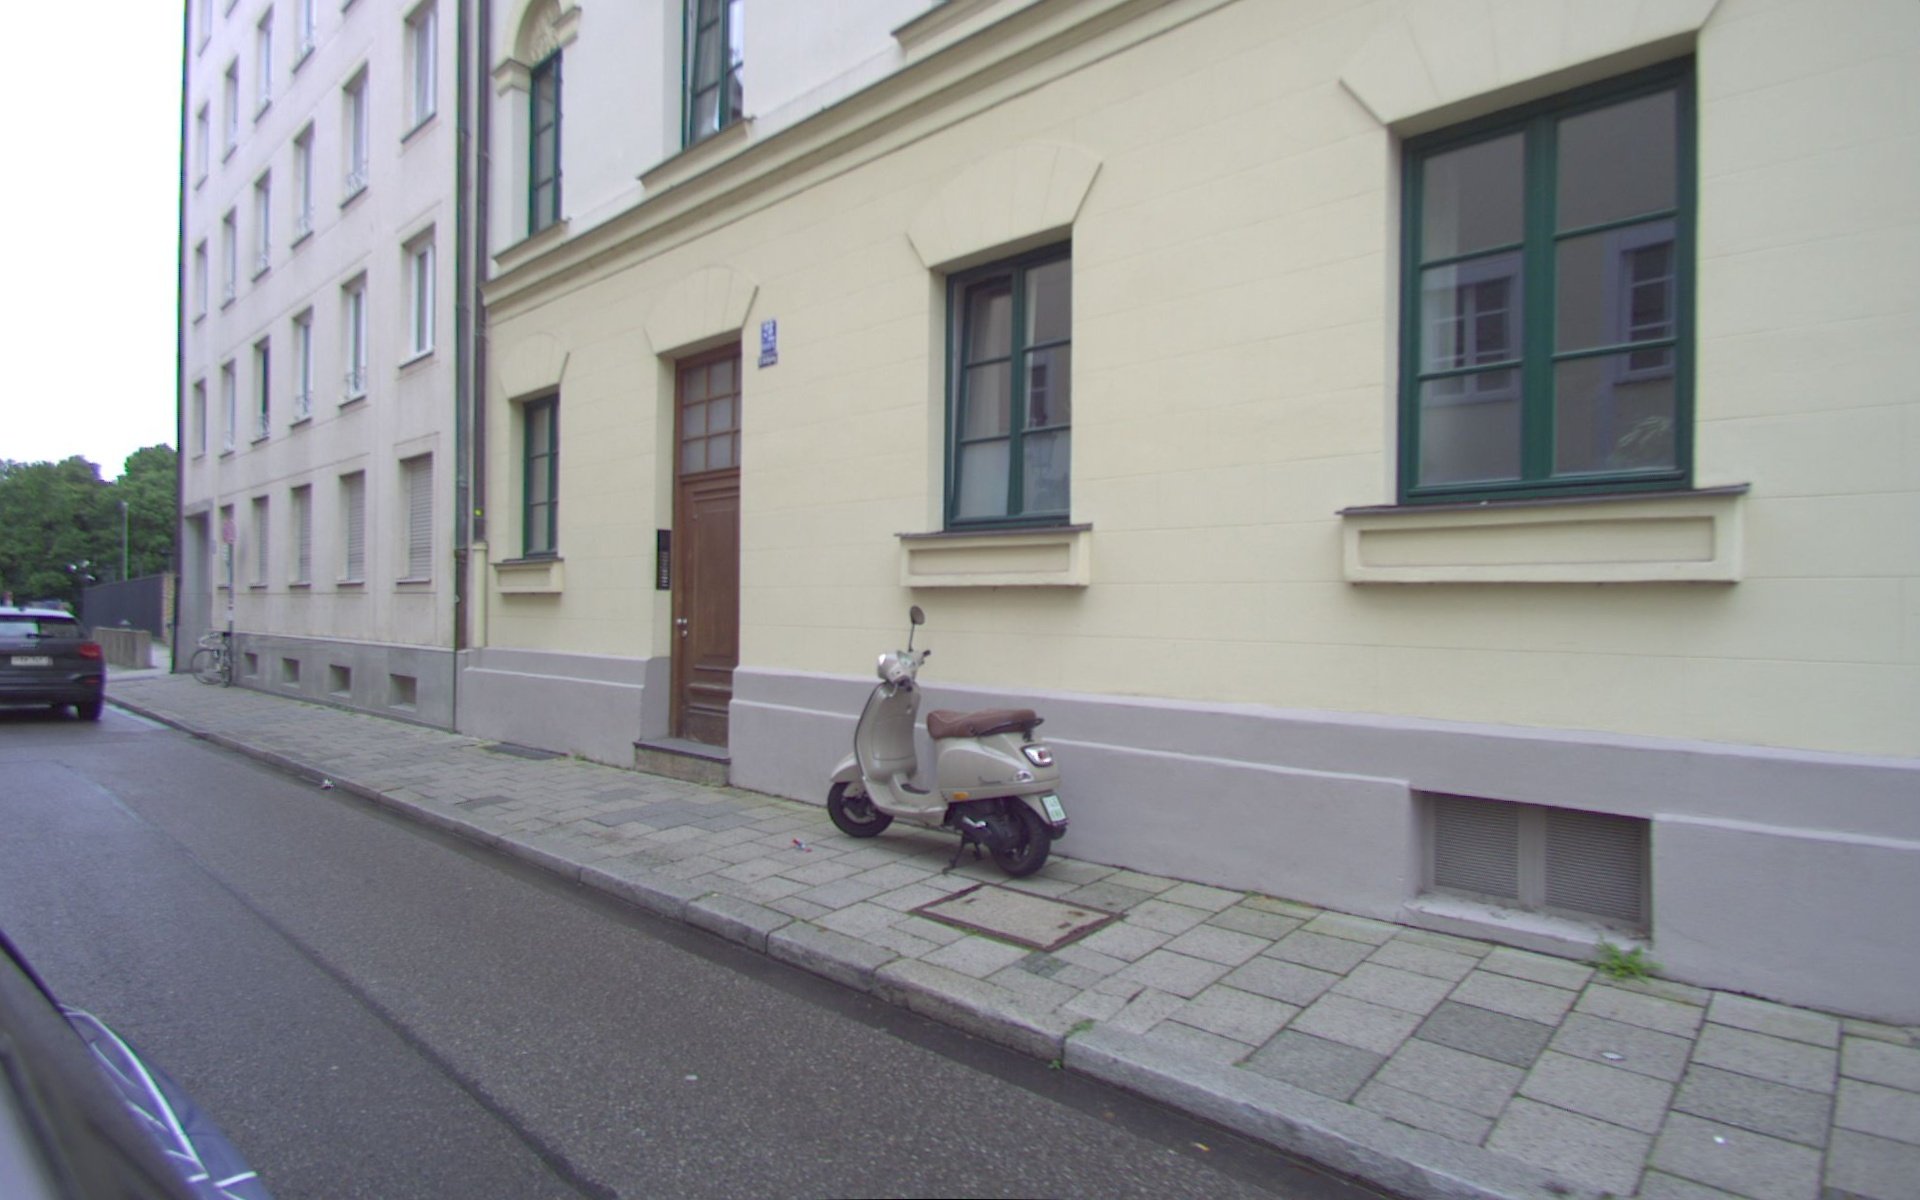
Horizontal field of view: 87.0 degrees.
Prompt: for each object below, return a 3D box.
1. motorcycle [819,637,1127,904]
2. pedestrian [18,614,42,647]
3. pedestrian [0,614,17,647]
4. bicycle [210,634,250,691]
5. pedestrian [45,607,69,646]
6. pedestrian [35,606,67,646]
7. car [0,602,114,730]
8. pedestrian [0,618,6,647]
[{"bbox_3d":[0.013,0.809,5.444,1.709,1.183,0.595,-1,-1,43],"label":"motorcycle"},{"bbox_3d":[-45.901,1.500,49.955,0.767,1.551,0.934,-1,-1,-40],"label":"pedestrian"},{"bbox_3d":[-43.017,1.375,45.638,1.079,1.478,0.631,-2,-1,43],"label":"pedestrian"},{"bbox_3d":[-13.268,1.118,18.379,1.574,0.951,0.316,-1,1,45],"label":"bicycle"},{"bbox_3d":[-41.615,1.214,46.651,0.814,1.736,0.906,-1,-1,-42],"label":"pedestrian"},{"bbox_3d":[-48.628,1.380,54.147,1.117,2.120,1.209,-2,-3,45],"label":"pedestrian"},{"bbox_3d":[-13.442,0.860,14.224,3.999,1.606,1.792,-1,-4,43],"label":"car"},{"bbox_3d":[-59.288,1.978,62.354,0.766,1.782,0.617,-2,-2,42],"label":"pedestrian"}]
